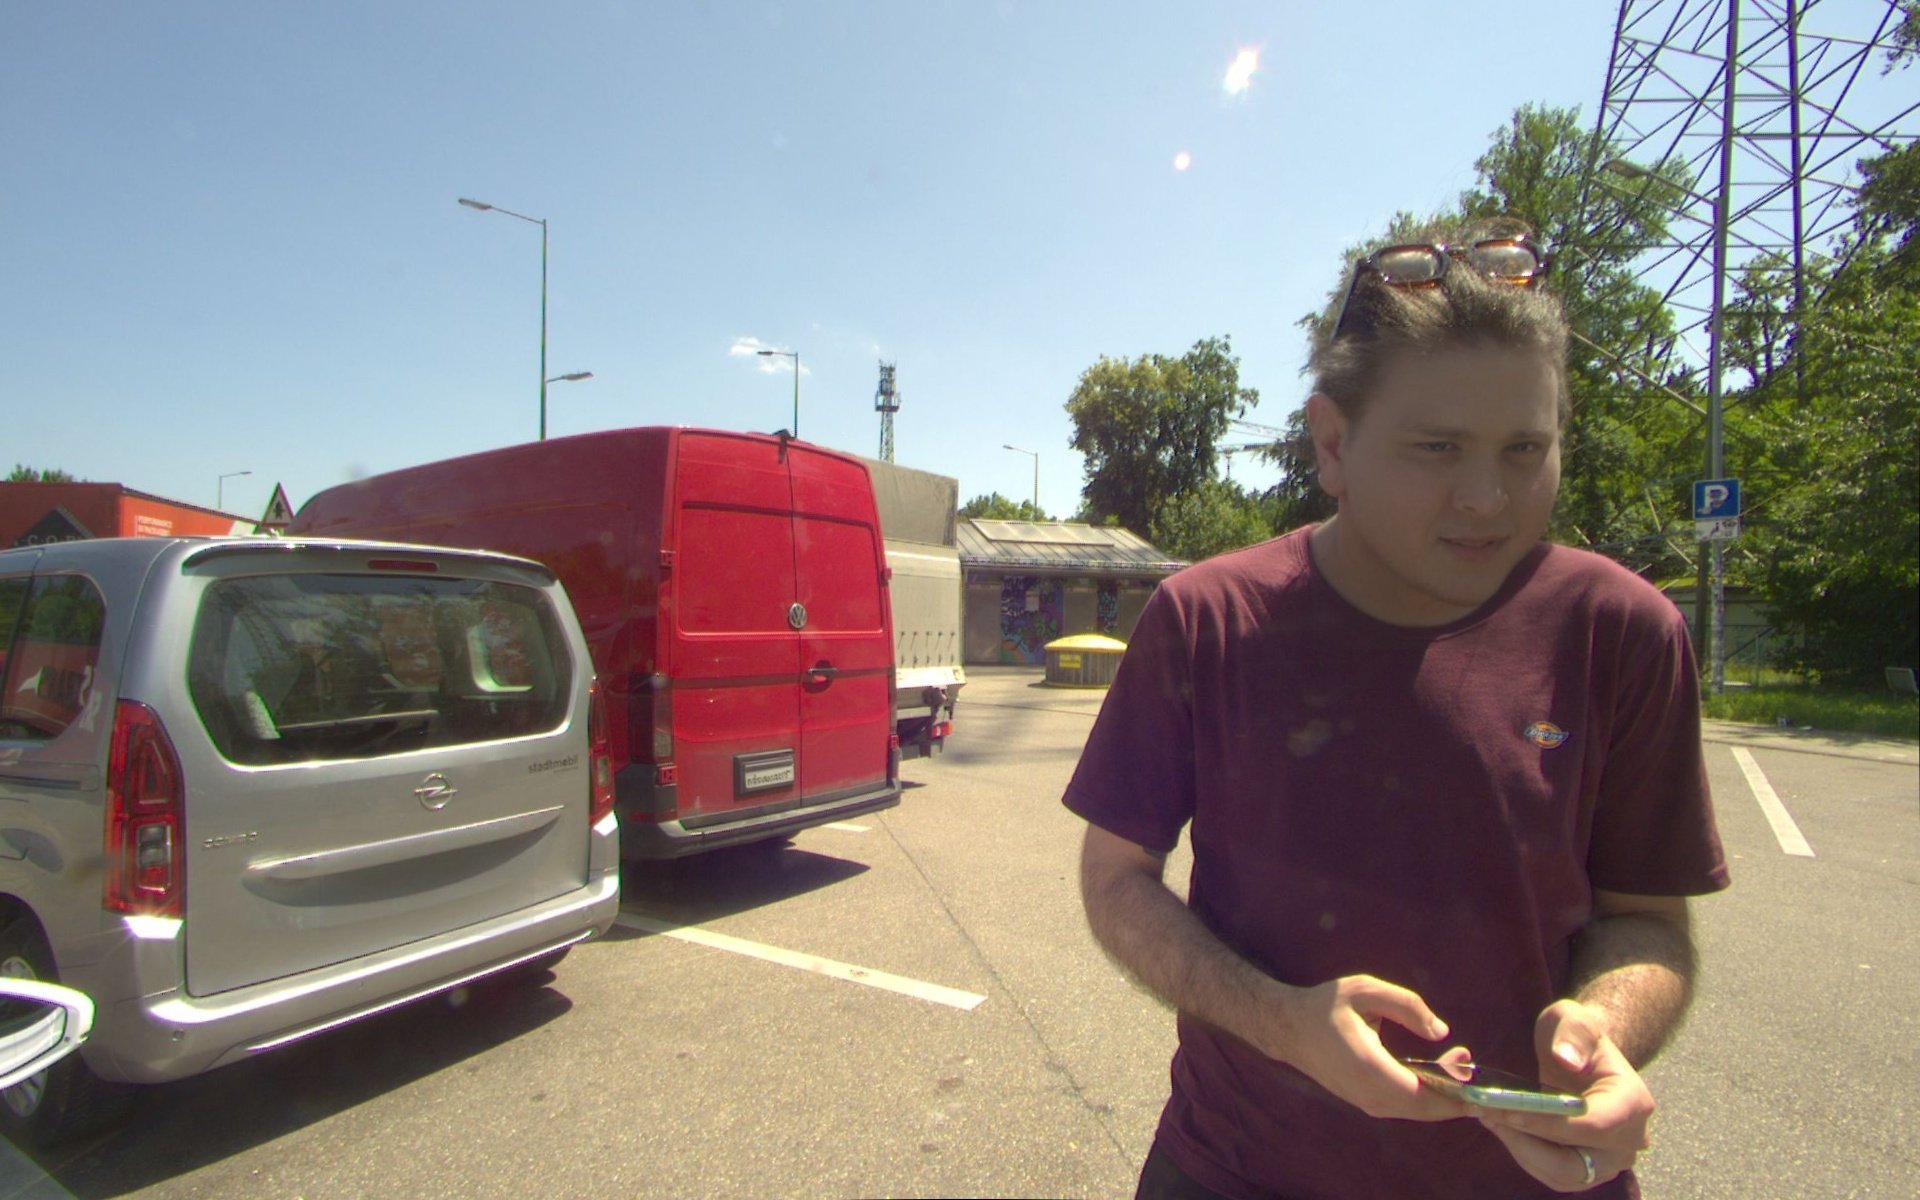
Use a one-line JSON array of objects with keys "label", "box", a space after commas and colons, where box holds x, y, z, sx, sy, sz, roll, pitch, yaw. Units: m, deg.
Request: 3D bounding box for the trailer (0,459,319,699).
[{"label": "trailer", "box": [-17.714, -0.291, 22.362, 2.791, 4.313, 8.677, 1, -1, -12]}]

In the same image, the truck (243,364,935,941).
[{"label": "truck", "box": [-2.852, 0.265, 6.993, 5.233, 2.658, 1.987, 0, -1, 37]}]

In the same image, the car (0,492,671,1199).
[{"label": "car", "box": [-3.338, 0.639, 4.208, 3.938, 1.776, 1.824, 0, -1, 29]}]

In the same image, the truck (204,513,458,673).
[{"label": "truck", "box": [-19.281, -0.070, 31.784, 2.643, 4.181, 10.602, 1, -1, -8]}]

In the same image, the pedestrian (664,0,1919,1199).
[{"label": "pedestrian", "box": [0.380, 0.512, 0.882, 0.926, 1.798, 0.827, 1, -1, 28]}]

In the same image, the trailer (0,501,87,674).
[{"label": "trailer", "box": [-28.788, -0.318, 28.023, 13.374, 4.178, 2.871, 0, -1, 33]}]
